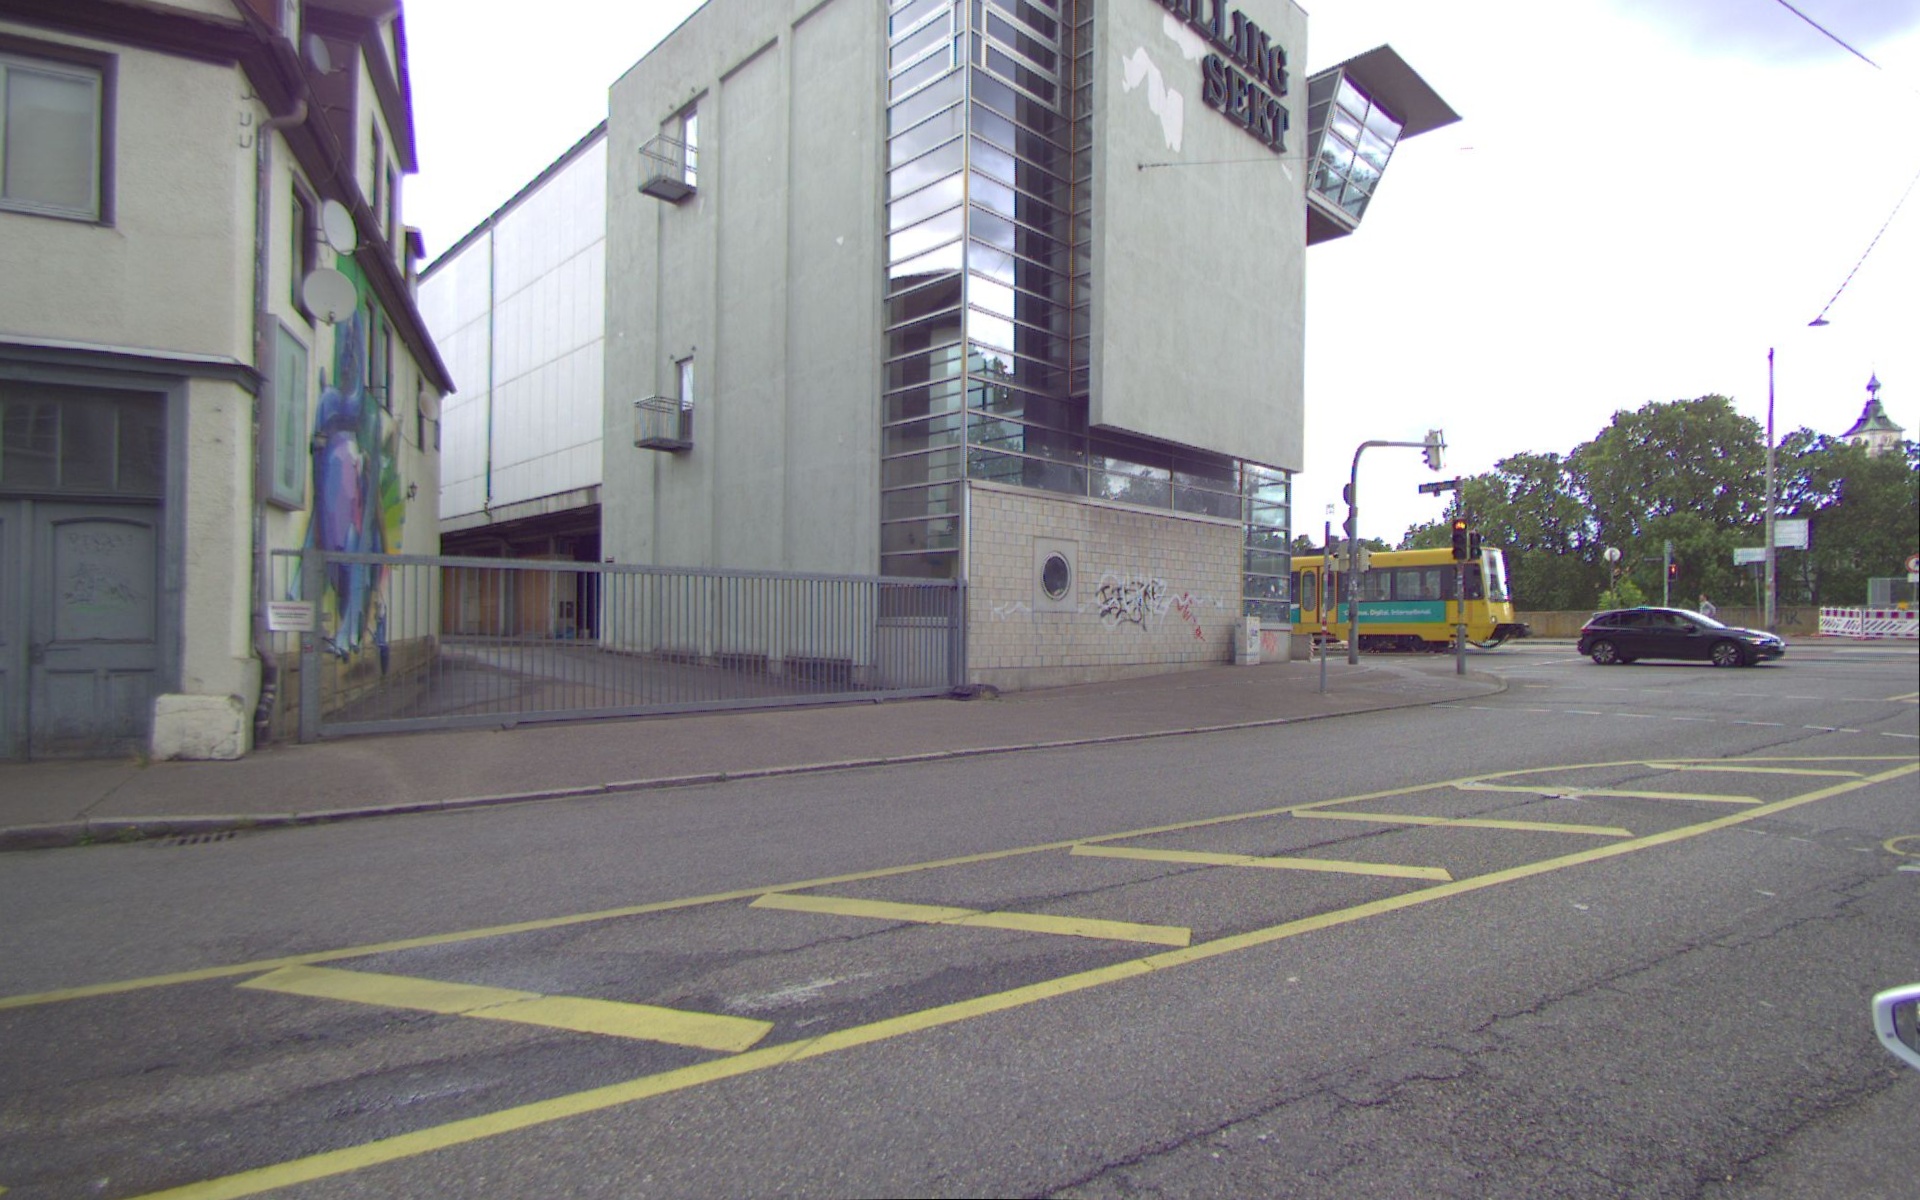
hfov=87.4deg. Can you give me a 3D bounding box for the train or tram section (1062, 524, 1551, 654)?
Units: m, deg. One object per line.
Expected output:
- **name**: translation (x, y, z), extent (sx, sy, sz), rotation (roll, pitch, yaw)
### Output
- **train or tram section**: translation (12.147, -0.098, 39.190), extent (3.242, 4.056, 18.590), rotation (-2, 0, -44)

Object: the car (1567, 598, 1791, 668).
- **car**: translation (18.089, 0.815, 25.440), extent (1.854, 1.595, 4.242), rotation (-1, -1, -37)

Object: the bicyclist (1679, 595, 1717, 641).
- **bicyclist**: translation (28.581, 0.696, 38.901), extent (0.985, 1.767, 0.755), rotation (0, 0, 19)

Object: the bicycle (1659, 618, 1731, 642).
- **bicycle**: translation (28.479, 1.145, 38.951), extent (2.096, 0.904, 0.760), rotation (-1, 0, 20)
